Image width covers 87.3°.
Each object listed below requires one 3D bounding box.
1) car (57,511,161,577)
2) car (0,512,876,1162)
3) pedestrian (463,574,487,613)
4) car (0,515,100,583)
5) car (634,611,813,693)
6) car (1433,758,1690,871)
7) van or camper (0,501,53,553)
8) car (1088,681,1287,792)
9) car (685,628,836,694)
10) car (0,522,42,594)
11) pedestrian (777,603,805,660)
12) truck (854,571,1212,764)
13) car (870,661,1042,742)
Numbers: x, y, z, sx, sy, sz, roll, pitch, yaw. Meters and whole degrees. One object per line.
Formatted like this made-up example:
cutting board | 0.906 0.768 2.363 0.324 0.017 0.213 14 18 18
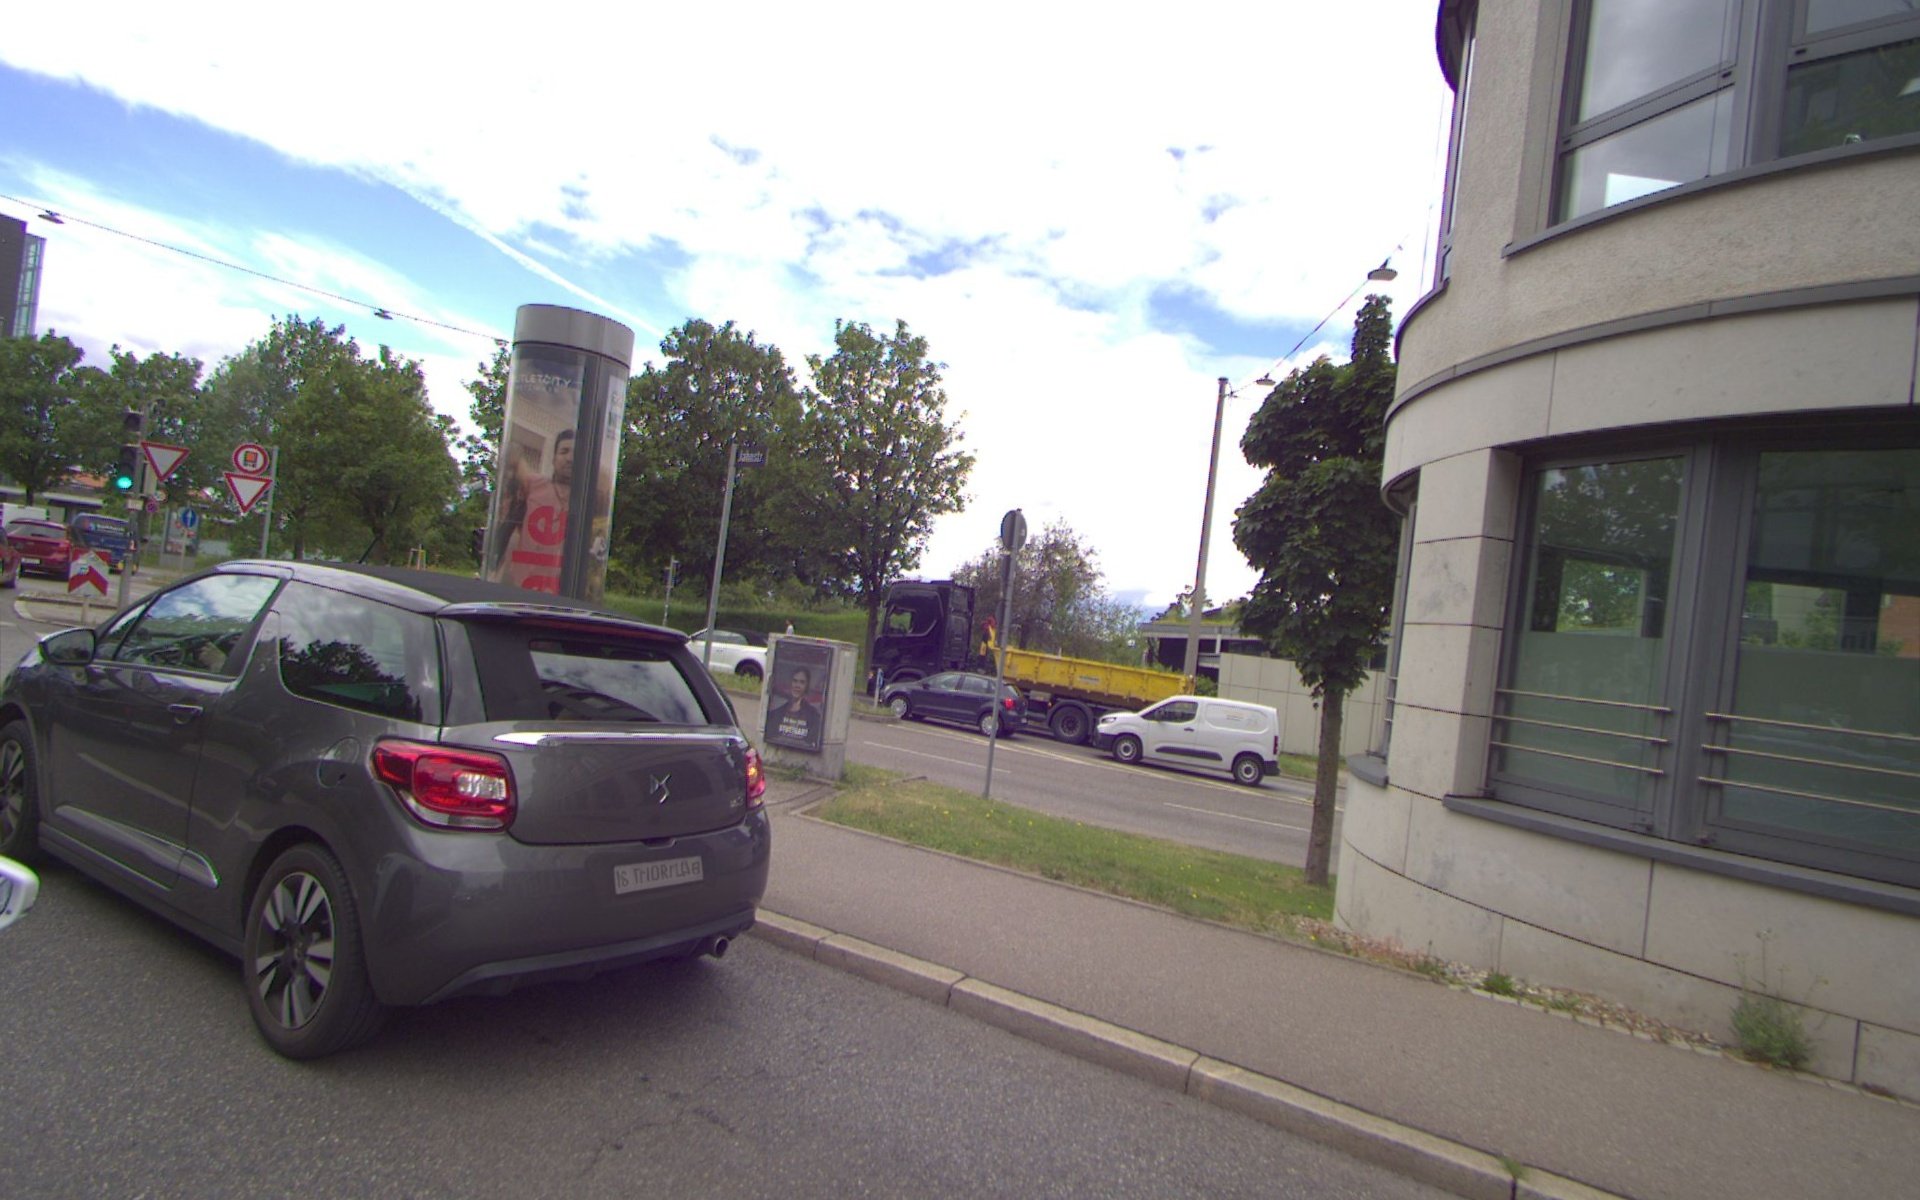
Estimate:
car | -29.698 -1.895 35.254 1.890 1.879 4.672 9 -3 -31
car | -2.560 0.588 4.281 3.993 1.477 1.706 6 -3 30
pedestrian | -21.590 -0.299 44.807 0.689 1.626 0.542 7 4 12
car | -24.738 -1.365 27.142 1.735 1.497 3.686 9 -3 -34
car | -6.569 1.451 27.997 4.404 1.547 1.858 8 -2 19
car | 12.564 4.464 21.290 4.206 1.391 1.759 8 -2 13
van or camper | -42.132 -3.370 43.978 4.330 1.940 2.000 7 -2 25
car | 5.346 3.136 23.661 4.206 1.817 1.758 8 -2 17
car | -6.274 1.926 31.695 4.081 1.458 1.992 7 -3 19
car | -20.673 -1.003 20.719 1.863 1.434 4.403 10 -3 -34
pedestrian | -6.186 1.145 36.873 0.743 1.944 0.587 7 4 -1
truck | 2.055 1.804 28.402 9.280 3.969 2.832 7 -2 18
car | -0.091 2.551 25.552 3.903 1.389 1.656 8 -2 19
